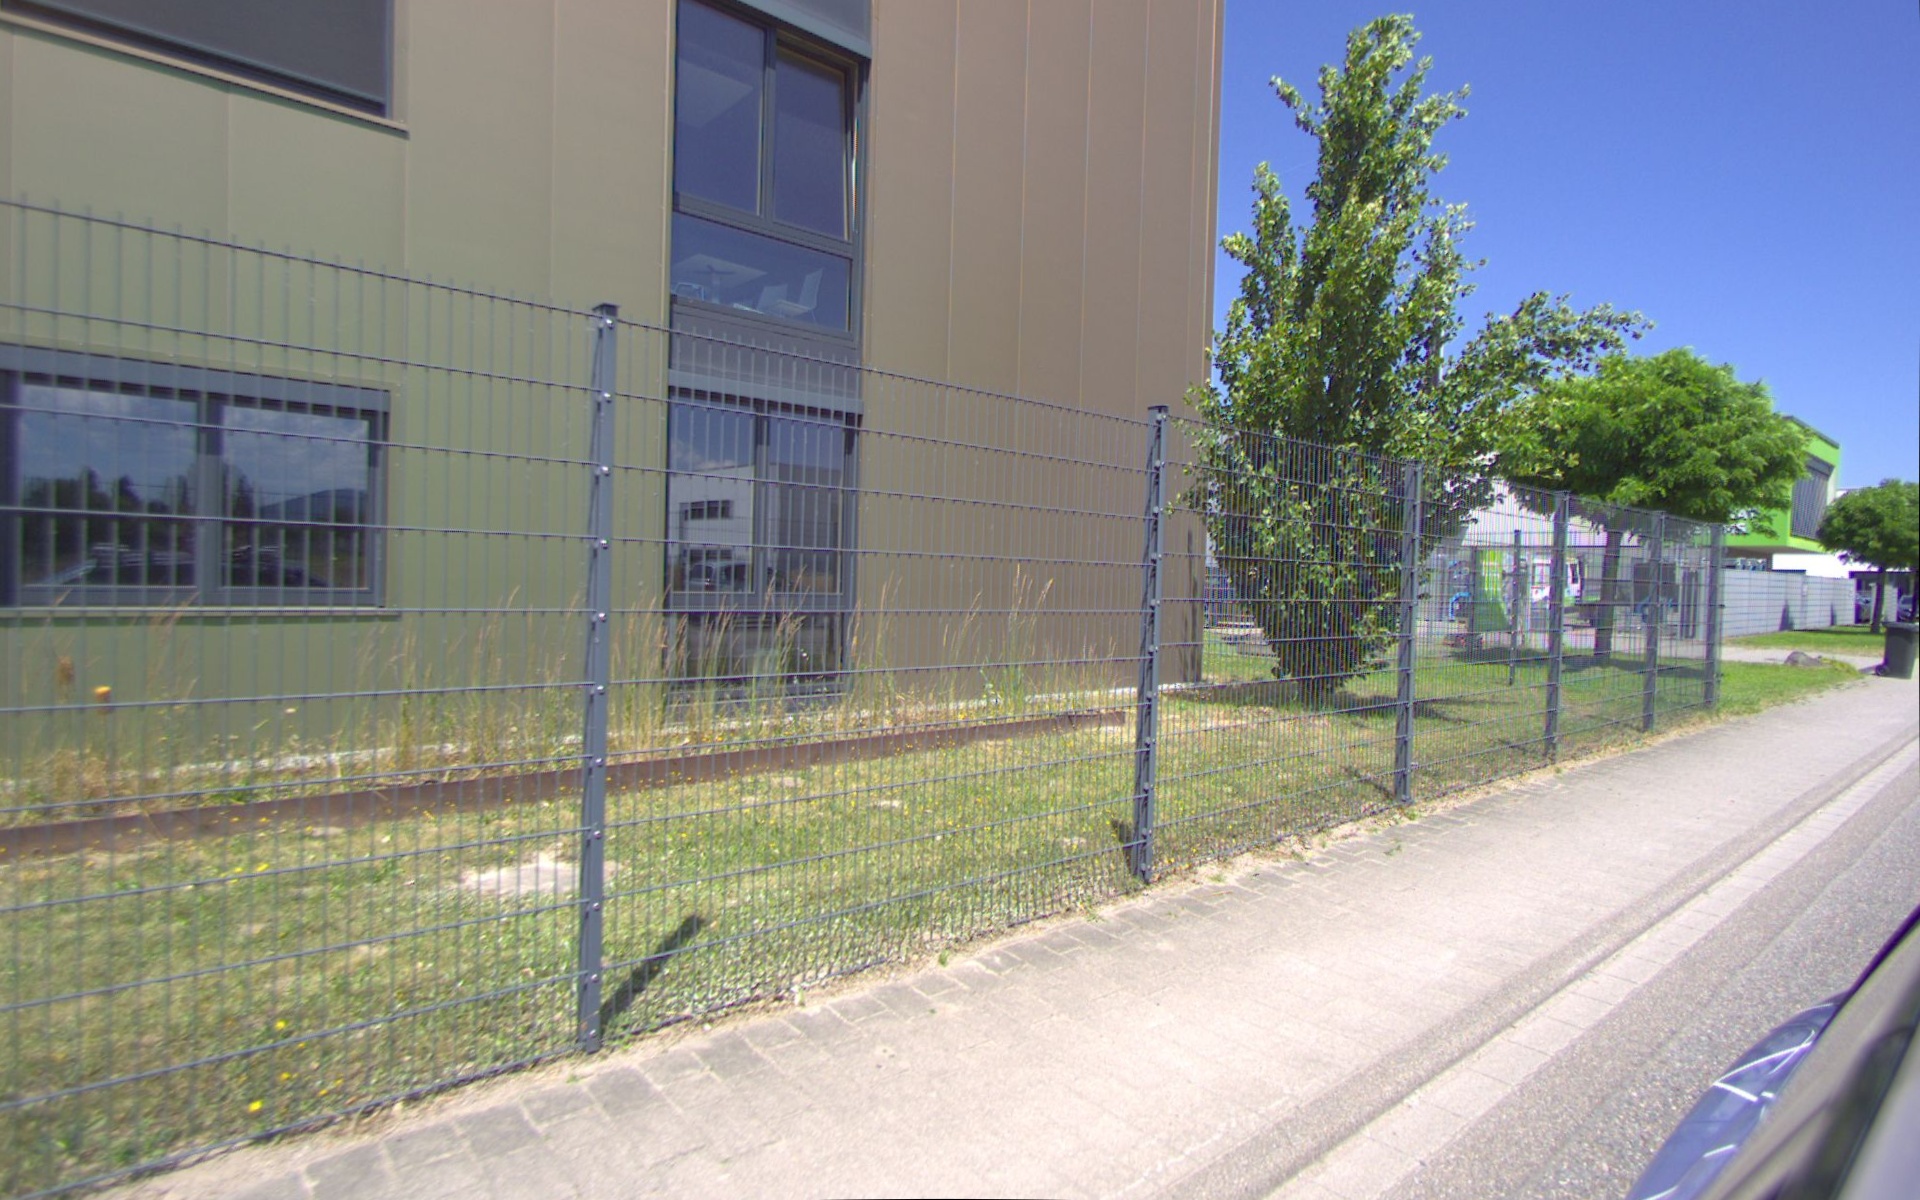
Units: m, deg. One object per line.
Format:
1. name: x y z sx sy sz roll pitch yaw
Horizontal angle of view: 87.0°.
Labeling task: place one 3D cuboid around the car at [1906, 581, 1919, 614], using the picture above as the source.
1. car: 49.695 -0.137 51.599 3.951 1.653 1.726 0 1 -41

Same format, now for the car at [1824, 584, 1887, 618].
1. car: 43.025 0.006 48.592 3.985 1.415 1.741 -3 3 -41

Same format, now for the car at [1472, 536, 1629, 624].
1. car: 19.199 -0.651 32.743 6.902 2.524 2.135 0 4 -41

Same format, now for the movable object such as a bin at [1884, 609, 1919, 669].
1. movable object such as a bin: 15.792 0.644 16.744 0.511 0.939 0.555 0 5 -30

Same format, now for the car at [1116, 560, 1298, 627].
1. car: 6.042 -0.153 24.503 4.530 1.456 1.998 0 2 -40

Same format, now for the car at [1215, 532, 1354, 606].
1. car: 12.181 -1.150 37.769 5.758 2.524 2.135 0 4 -41
